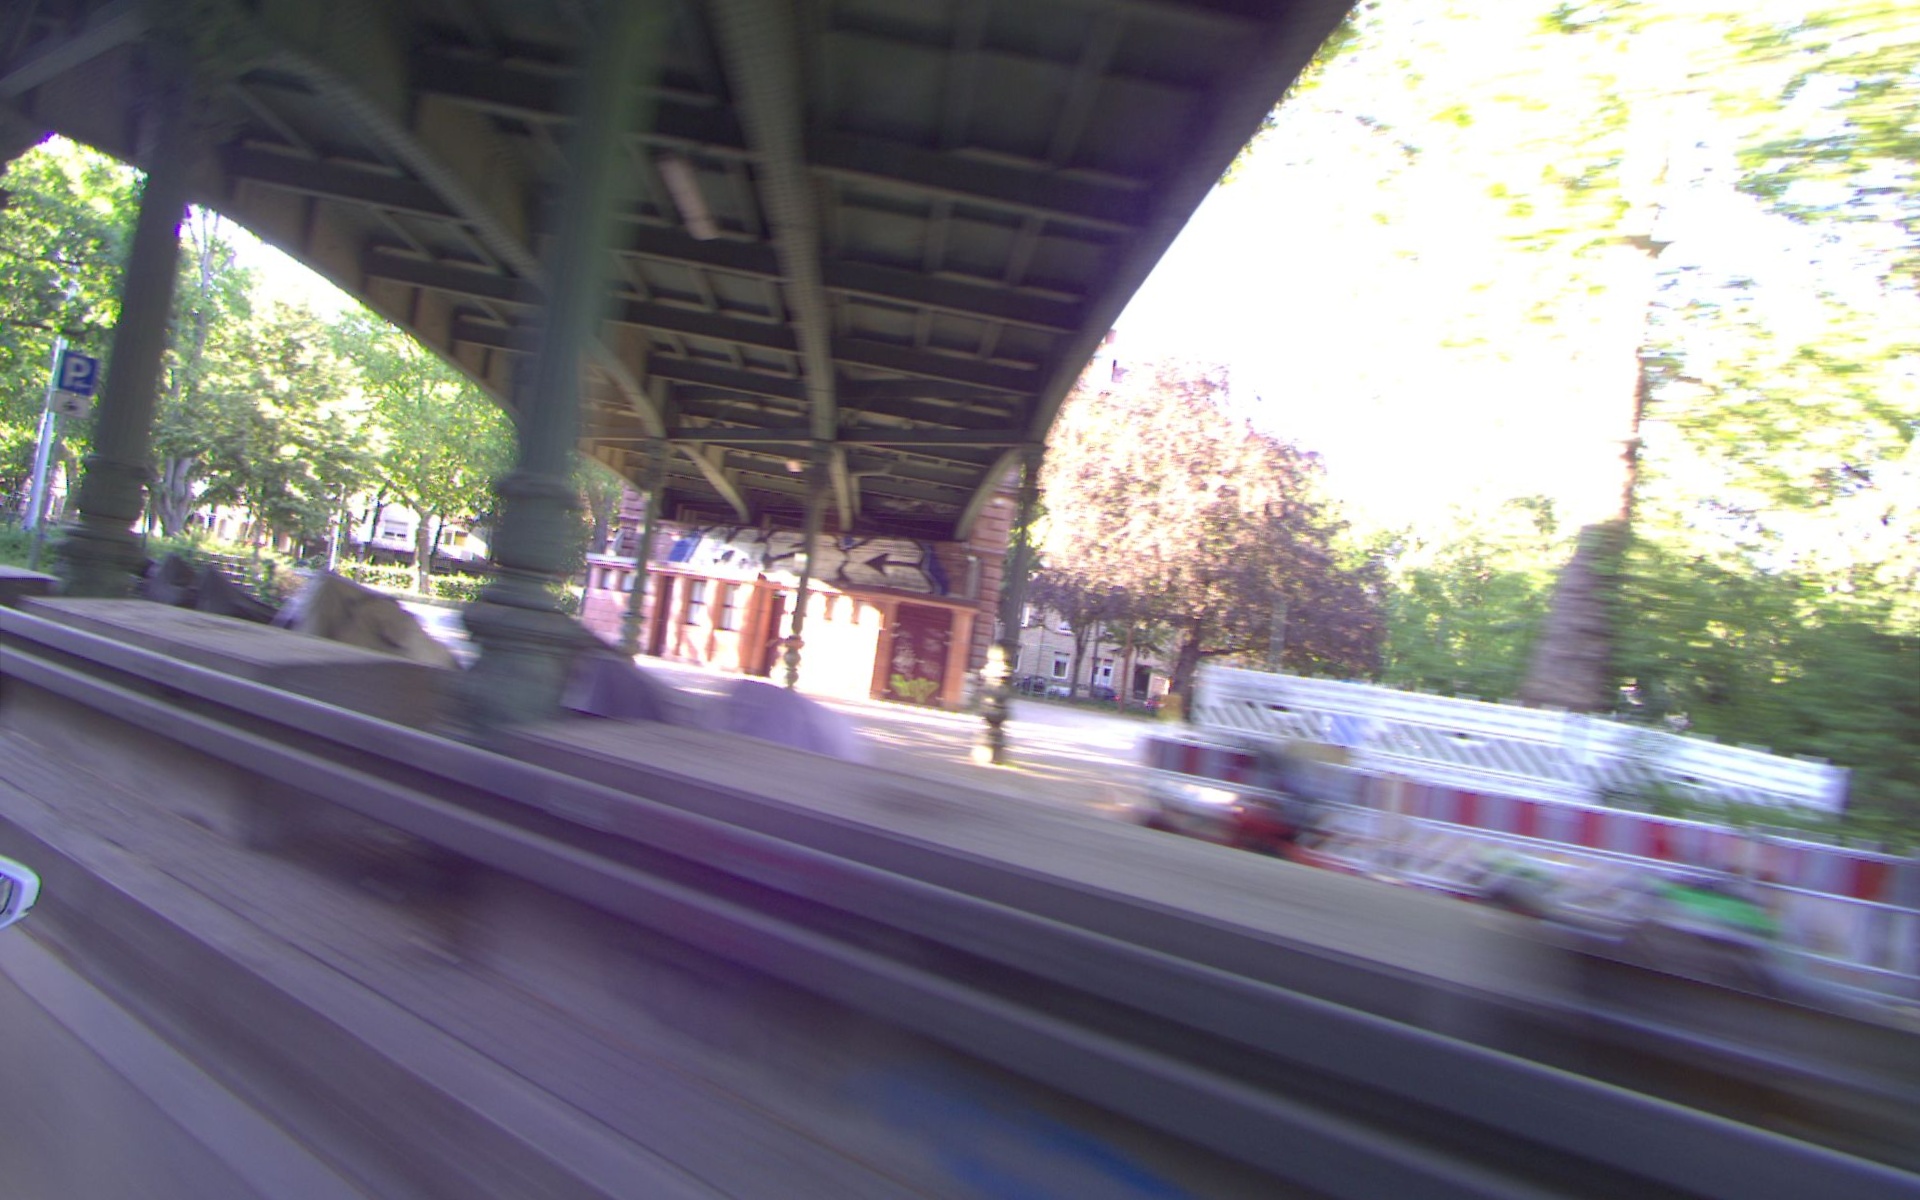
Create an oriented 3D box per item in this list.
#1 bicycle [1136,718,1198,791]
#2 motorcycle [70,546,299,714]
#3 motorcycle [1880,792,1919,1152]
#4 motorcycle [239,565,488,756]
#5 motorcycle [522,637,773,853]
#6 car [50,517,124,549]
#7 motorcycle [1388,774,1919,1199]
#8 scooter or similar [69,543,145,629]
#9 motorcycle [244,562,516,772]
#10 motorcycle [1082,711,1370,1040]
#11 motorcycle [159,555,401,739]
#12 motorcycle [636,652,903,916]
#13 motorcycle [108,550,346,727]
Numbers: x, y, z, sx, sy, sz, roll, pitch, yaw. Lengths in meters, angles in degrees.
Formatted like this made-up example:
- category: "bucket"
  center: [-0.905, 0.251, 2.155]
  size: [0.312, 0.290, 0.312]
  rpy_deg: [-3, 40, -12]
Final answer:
- category: "bicycle"
  center: [3.206, 2.376, 15.692]
  size: [0.514, 0.868, 1.615]
  rpy_deg: [7, -1, 0]
- category: "motorcycle"
  center: [-7.717, 0.330, 10.077]
  size: [1.595, 1.422, 0.705]
  rpy_deg: [11, -6, -39]
- category: "motorcycle"
  center: [3.821, 1.295, 2.744]
  size: [0.887, 1.250, 1.941]
  rpy_deg: [7, -5, 6]
- category: "motorcycle"
  center: [-5.129, 0.548, 8.706]
  size: [1.595, 1.422, 0.705]
  rpy_deg: [11, -6, -39]
- category: "motorcycle"
  center: [-1.943, 0.915, 6.548]
  size: [0.699, 1.144, 1.609]
  rpy_deg: [6, -5, 14]
- category: "car"
  center: [-71.403, -5.463, 82.331]
  size: [1.967, 1.701, 4.001]
  rpy_deg: [5, -6, 30]
- category: "motorcycle"
  center: [2.374, 1.268, 3.573]
  size: [0.798, 1.040, 1.729]
  rpy_deg: [7, -5, -3]
- category: "scooter or similar"
  center: [-14.371, -0.243, 16.939]
  size: [1.304, 1.311, 0.478]
  rpy_deg: [4, -5, 34]
- category: "motorcycle"
  center: [-4.539, 0.556, 7.939]
  size: [1.595, 1.422, 0.705]
  rpy_deg: [11, -6, -39]
- category: "motorcycle"
  center: [1.149, 1.163, 4.776]
  size: [0.700, 1.144, 1.729]
  rpy_deg: [7, -5, -3]
- category: "motorcycle"
  center: [-6.134, 0.453, 9.125]
  size: [1.595, 1.422, 0.705]
  rpy_deg: [11, -6, -39]
- category: "motorcycle"
  center: [-0.965, 0.969, 5.726]
  size: [0.834, 1.144, 1.842]
  rpy_deg: [7, -5, 7]
- category: "motorcycle"
  center: [-6.893, 0.388, 9.516]
  size: [1.595, 1.422, 0.705]
  rpy_deg: [11, -6, -39]
